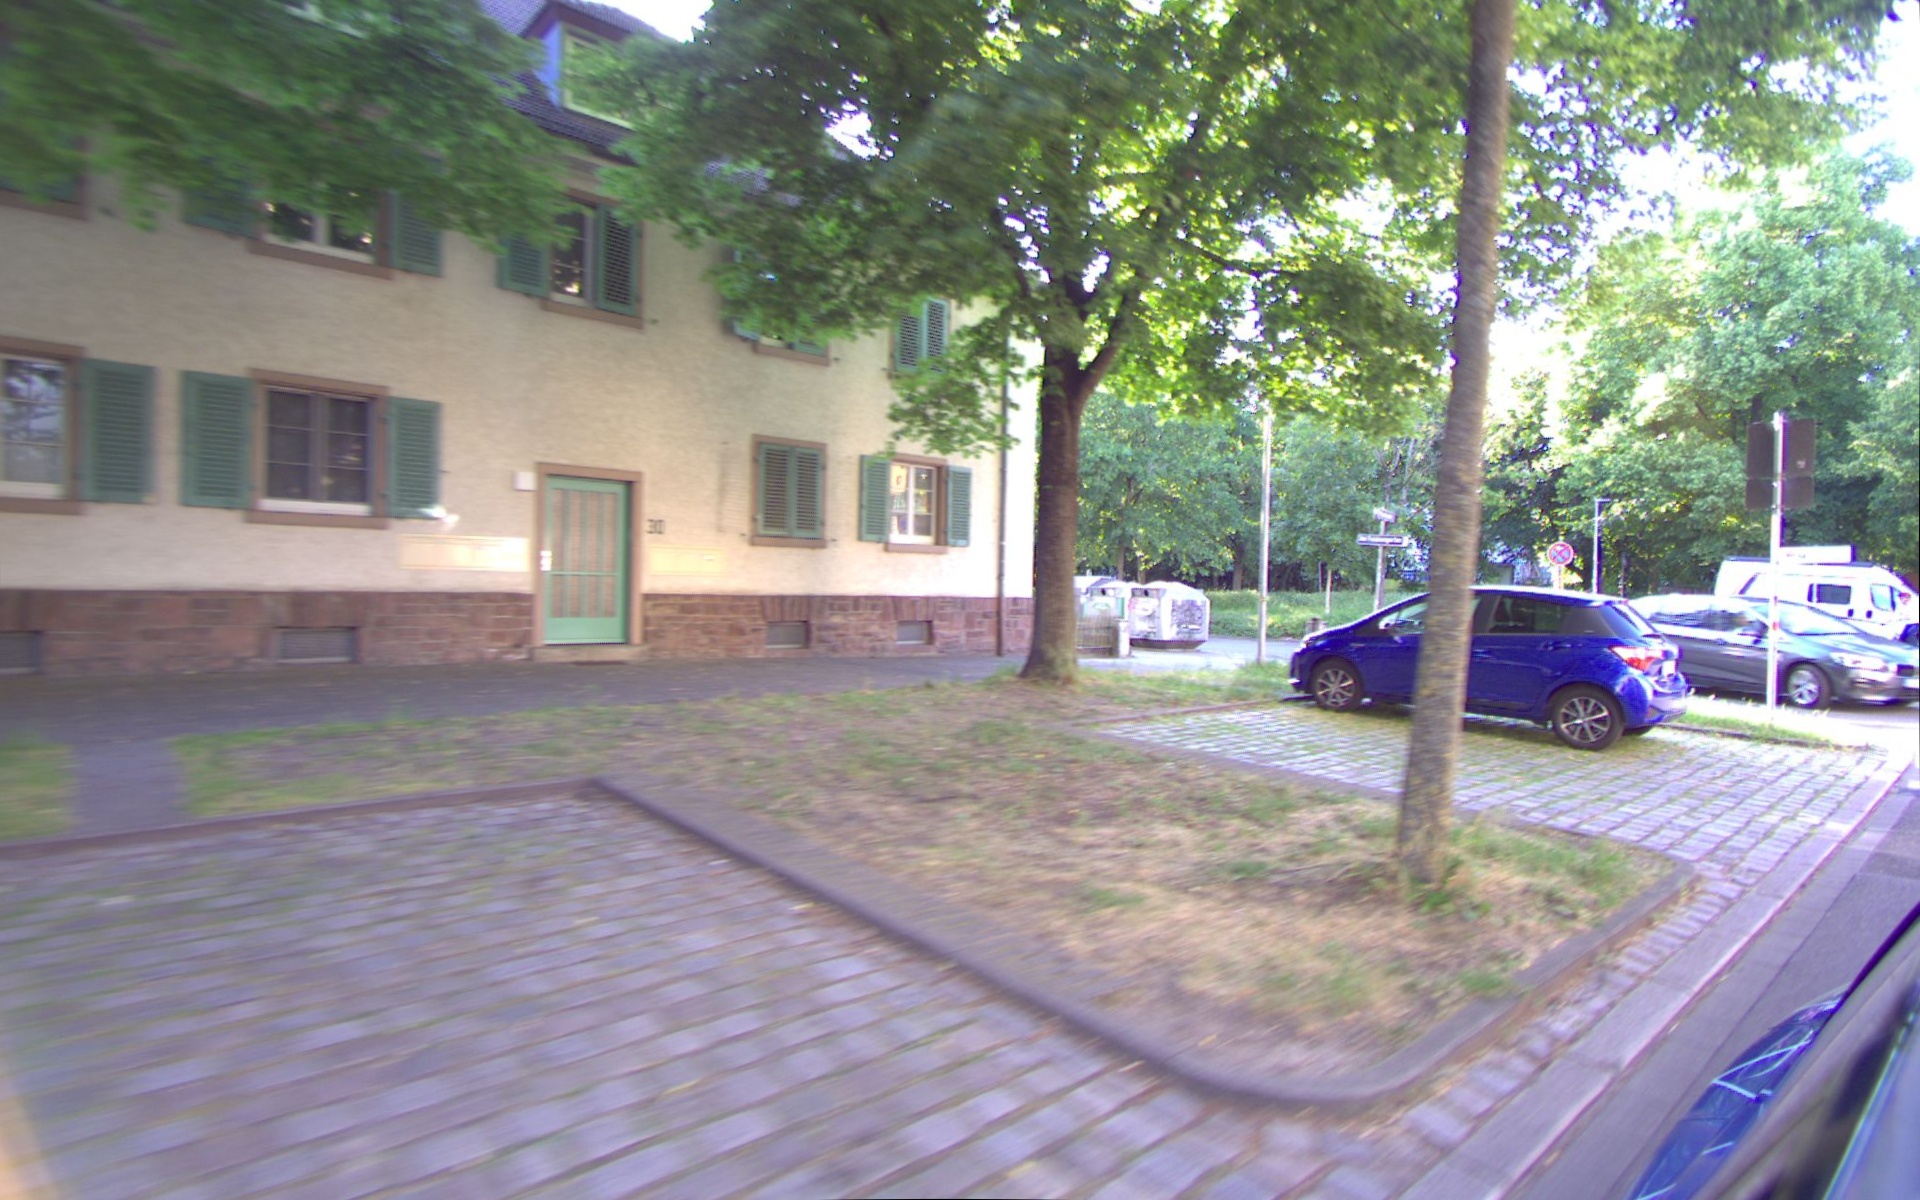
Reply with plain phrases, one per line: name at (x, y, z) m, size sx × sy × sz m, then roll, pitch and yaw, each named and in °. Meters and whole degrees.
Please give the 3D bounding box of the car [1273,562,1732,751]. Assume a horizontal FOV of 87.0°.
car at (5.763, 0.424, 11.085) m, size 1.967 × 1.574 × 3.992 m, roll -1°, pitch 4°, yaw -43°

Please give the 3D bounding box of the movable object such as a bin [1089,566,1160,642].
movable object such as a bin at (4.140, 0.075, 25.524) m, size 1.129 × 1.850 × 1.387 m, roll -1°, pitch 2°, yaw -34°

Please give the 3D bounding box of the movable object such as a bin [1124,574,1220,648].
movable object such as a bin at (5.069, 0.226, 24.299) m, size 1.561 × 1.678 × 1.640 m, roll -1°, pitch 2°, yaw -34°

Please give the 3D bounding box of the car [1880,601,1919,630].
car at (45.487, 0.765, 47.077) m, size 1.755 × 1.272 × 3.873 m, roll -1°, pitch 2°, yaw -42°

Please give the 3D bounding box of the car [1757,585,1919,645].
car at (26.249, 0.399, 29.661) m, size 1.945 × 1.594 × 4.291 m, roll -1°, pitch 2°, yaw -42°

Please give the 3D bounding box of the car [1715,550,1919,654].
car at (24.394, -0.010, 27.748) m, size 2.201 × 2.646 × 5.621 m, roll -1°, pitch 2°, yaw -42°

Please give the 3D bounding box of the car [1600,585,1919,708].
car at (12.774, 0.610, 15.972) m, size 1.852 × 1.642 × 4.626 m, roll 0°, pitch 0°, yaw -10°

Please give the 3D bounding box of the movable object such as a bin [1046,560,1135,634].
movable object such as a bin at (3.465, -0.104, 26.859) m, size 1.890 × 1.876 × 1.394 m, roll -1°, pitch 2°, yaw -35°
